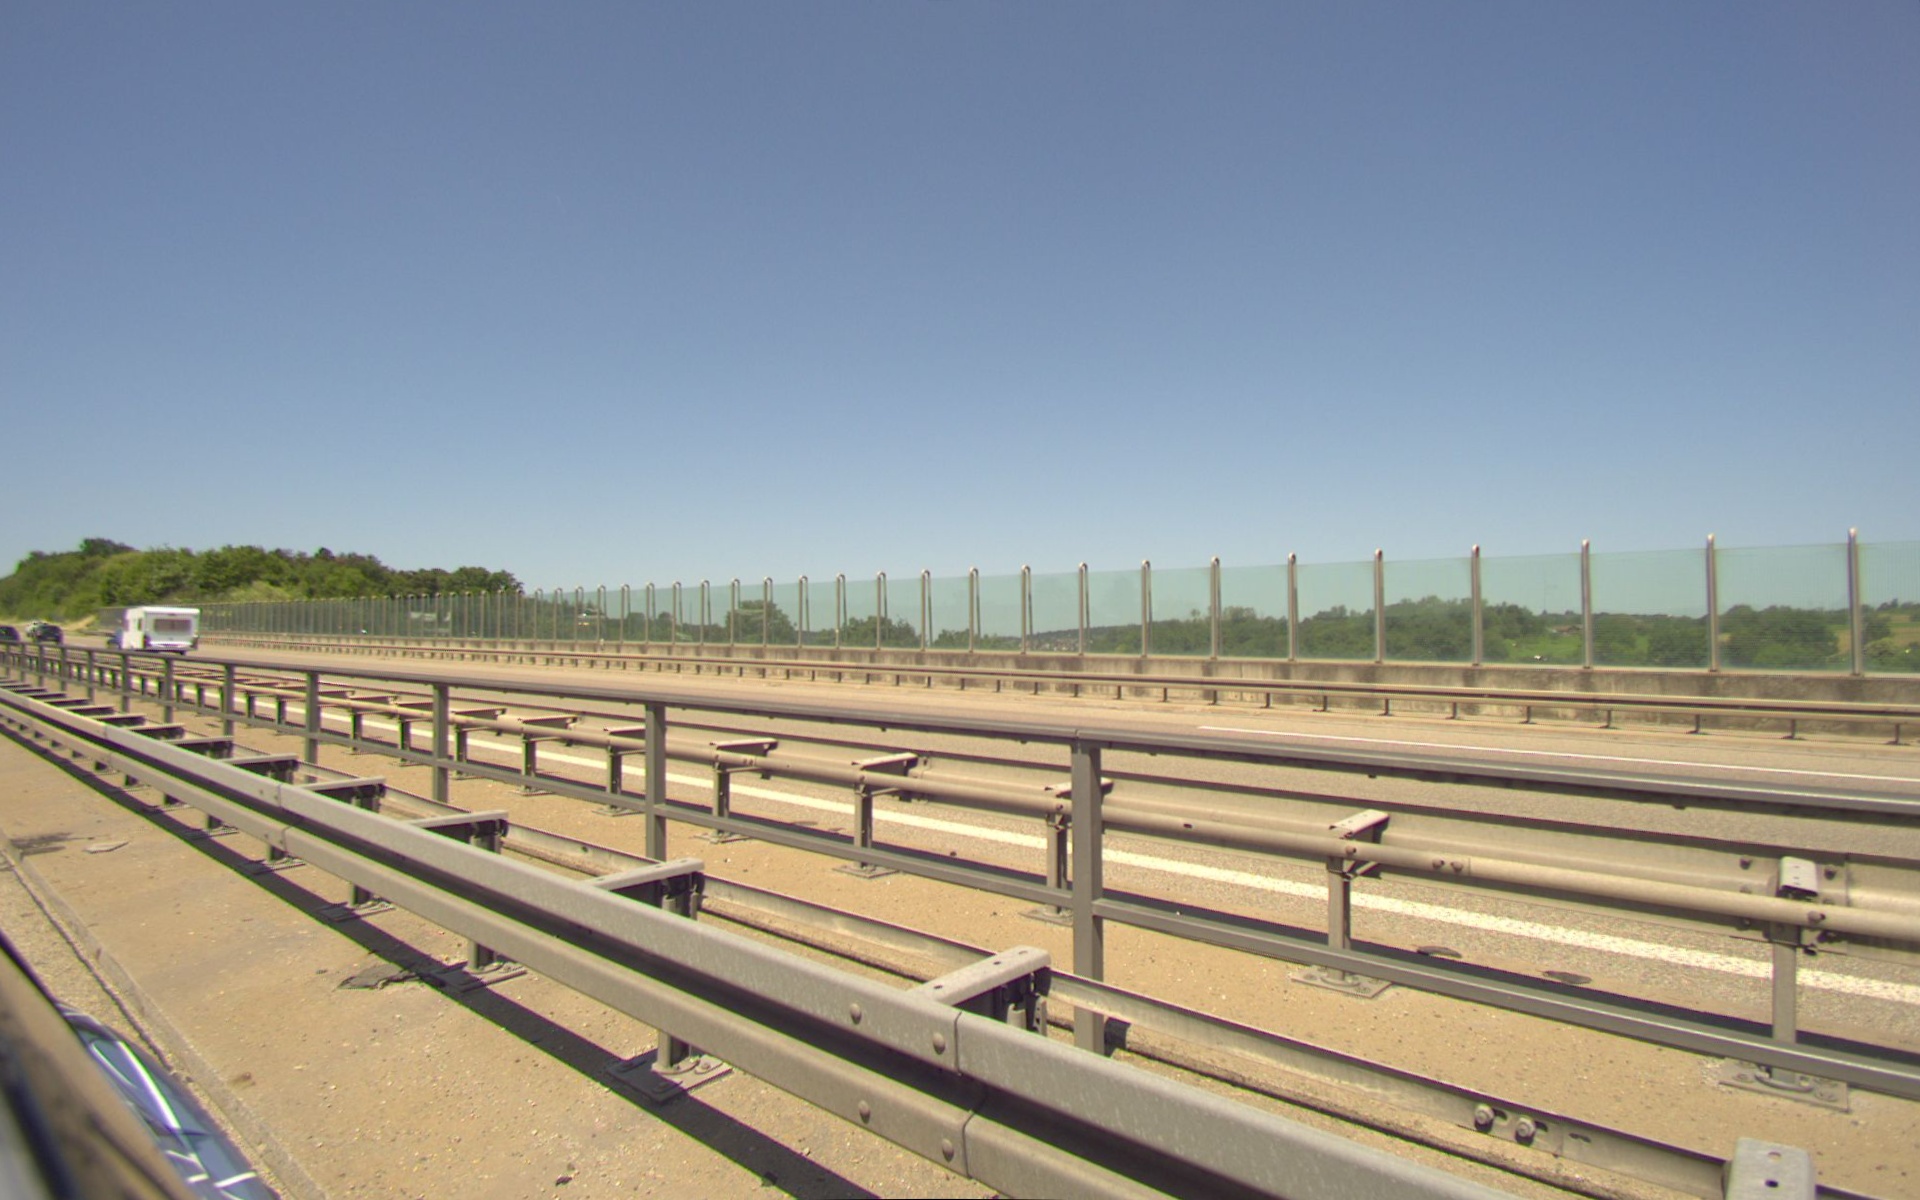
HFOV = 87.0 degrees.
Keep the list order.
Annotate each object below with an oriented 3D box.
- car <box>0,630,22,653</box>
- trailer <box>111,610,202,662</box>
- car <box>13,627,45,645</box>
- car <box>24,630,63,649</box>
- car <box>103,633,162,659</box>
[{"bbox_3d":[-64.207,2.775,67.751,3.999,1.459,1.650,-2,-5,42],"label":"car"},{"bbox_3d":[-41.859,1.873,52.639,6.771,2.569,2.467,-2,-4,41],"label":"trailer"},{"bbox_3d":[-104.446,4.015,113.498,5.252,1.899,1.973,-2,-4,41],"label":"car"},{"bbox_3d":[-72.937,3.151,80.494,4.417,1.503,1.712,-2,-4,41],"label":"car"},{"bbox_3d":[-46.160,2.555,56.443,4.680,1.418,1.757,-2,-4,41],"label":"car"}]
